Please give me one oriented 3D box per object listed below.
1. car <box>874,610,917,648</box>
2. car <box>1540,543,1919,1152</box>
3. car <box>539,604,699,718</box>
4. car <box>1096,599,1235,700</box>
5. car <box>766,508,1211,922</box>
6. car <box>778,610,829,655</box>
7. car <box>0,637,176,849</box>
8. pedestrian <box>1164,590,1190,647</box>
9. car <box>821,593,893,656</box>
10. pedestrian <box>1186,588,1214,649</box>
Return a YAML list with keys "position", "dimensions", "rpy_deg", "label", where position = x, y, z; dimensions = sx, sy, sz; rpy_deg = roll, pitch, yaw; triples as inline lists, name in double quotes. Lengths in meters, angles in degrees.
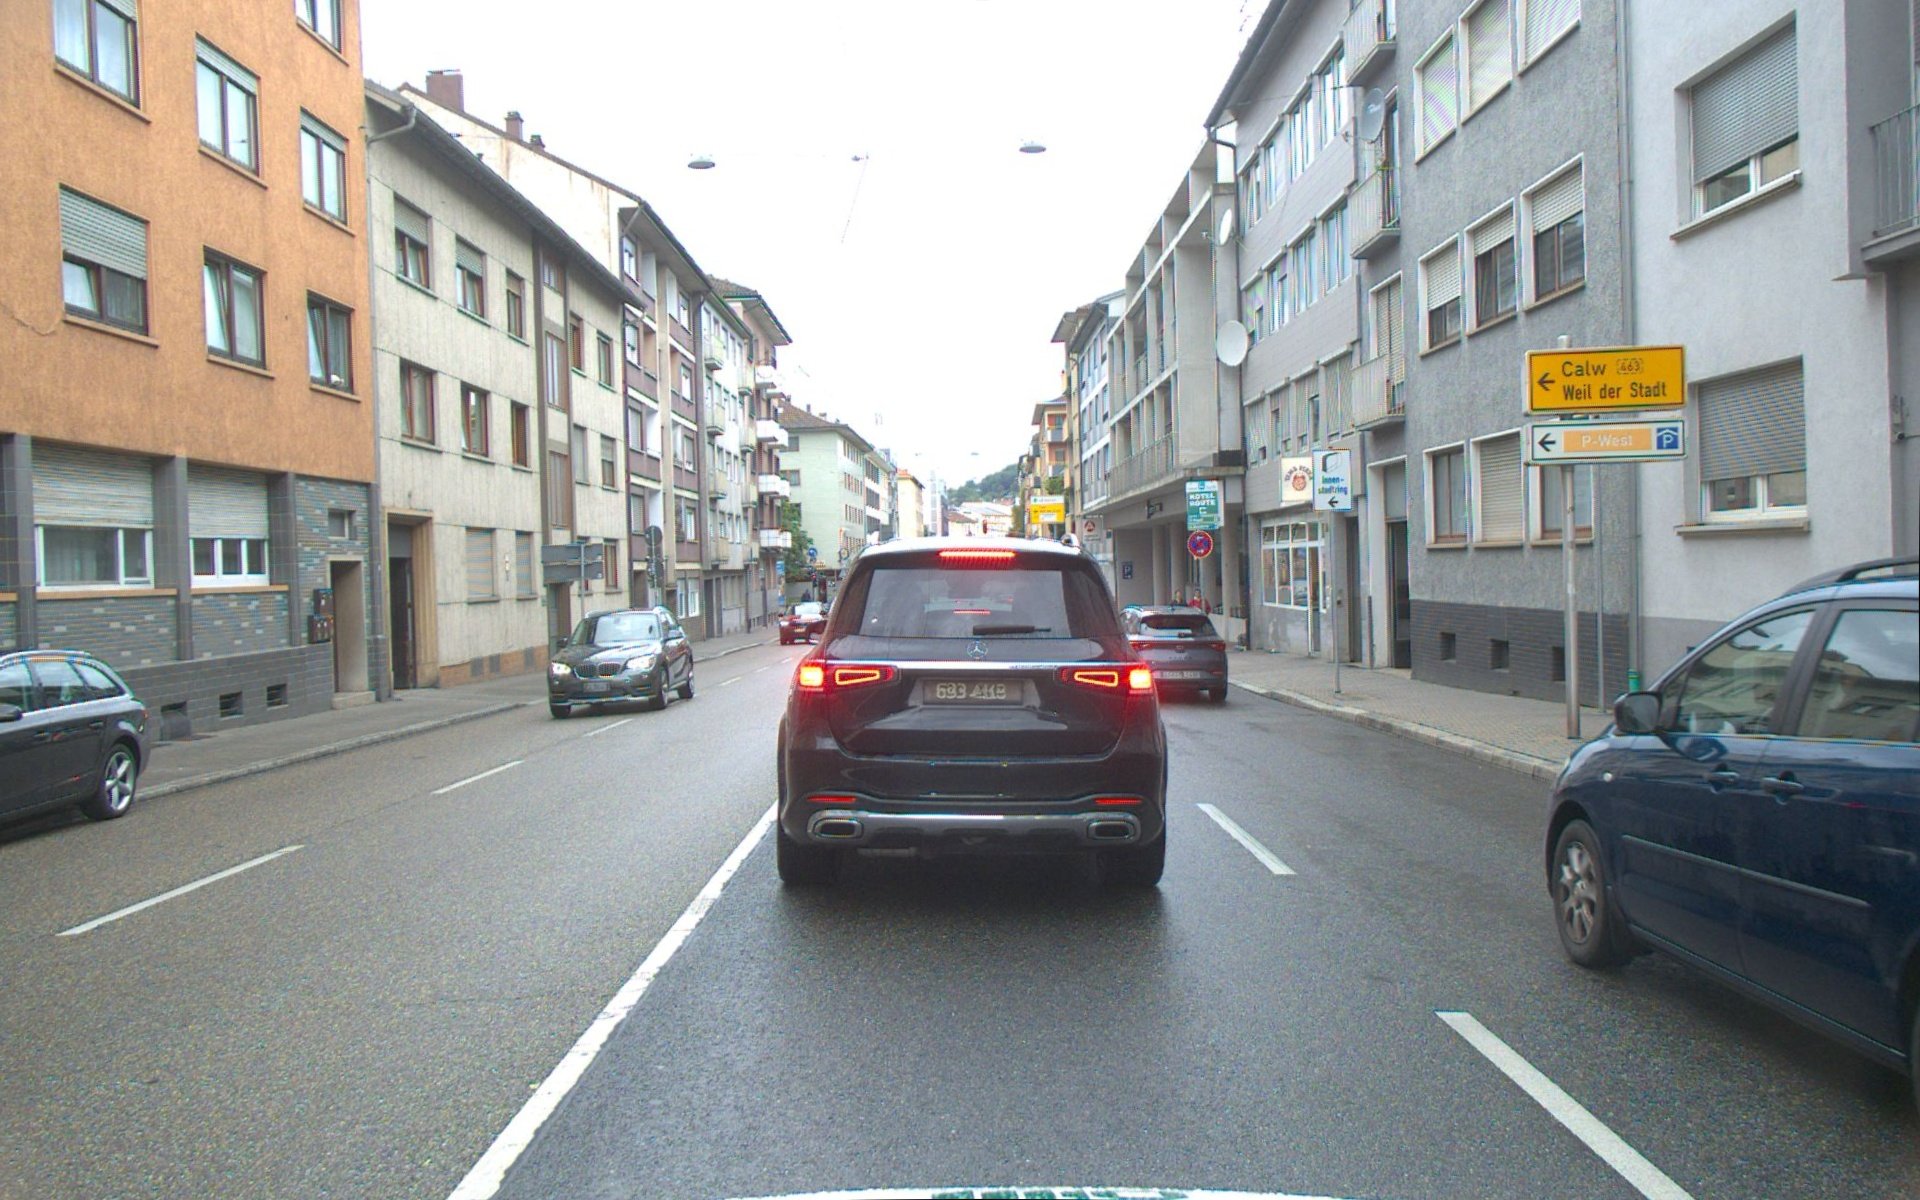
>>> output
- position: [-3.354, 1.490, 86.904]
  dimensions: [2.083, 1.750, 4.816]
  rpy_deg: [-3, 0, -1]
  label: "car"
- position: [3.484, 0.668, 5.403]
  dimensions: [1.770, 1.634, 4.212]
  rpy_deg: [0, 0, 1]
  label: "car"
- position: [-5.297, 0.894, 26.188]
  dimensions: [1.669, 1.533, 4.158]
  rpy_deg: [-4, 0, -1]
  label: "car"
- position: [3.211, 0.733, 26.585]
  dimensions: [1.588, 1.455, 4.311]
  rpy_deg: [1, 0, -1]
  label: "car"
- position: [0.089, 0.519, 9.497]
  dimensions: [1.984, 1.837, 3.999]
  rpy_deg: [1, 0, -1]
  label: "car"
- position: [-6.218, 1.275, 66.124]
  dimensions: [1.761, 1.612, 4.314]
  rpy_deg: [-3, 0, -3]
  label: "car"
- position: [-7.973, 1.092, 12.753]
  dimensions: [1.759, 1.463, 4.526]
  rpy_deg: [1, 0, -1]
  label: "car"
- position: [5.888, 0.498, 44.886]
  dimensions: [0.496, 1.526, 0.562]
  rpy_deg: [-4, 0, -3]
  label: "pedestrian"
- position: [-3.177, 0.736, 51.781]
  dimensions: [1.798, 1.757, 4.475]
  rpy_deg: [-4, 0, 1]
  label: "car"
- position: [6.510, 0.488, 44.886]
  dimensions: [0.549, 1.606, 0.526]
  rpy_deg: [-4, 0, -2]
  label: "pedestrian"
